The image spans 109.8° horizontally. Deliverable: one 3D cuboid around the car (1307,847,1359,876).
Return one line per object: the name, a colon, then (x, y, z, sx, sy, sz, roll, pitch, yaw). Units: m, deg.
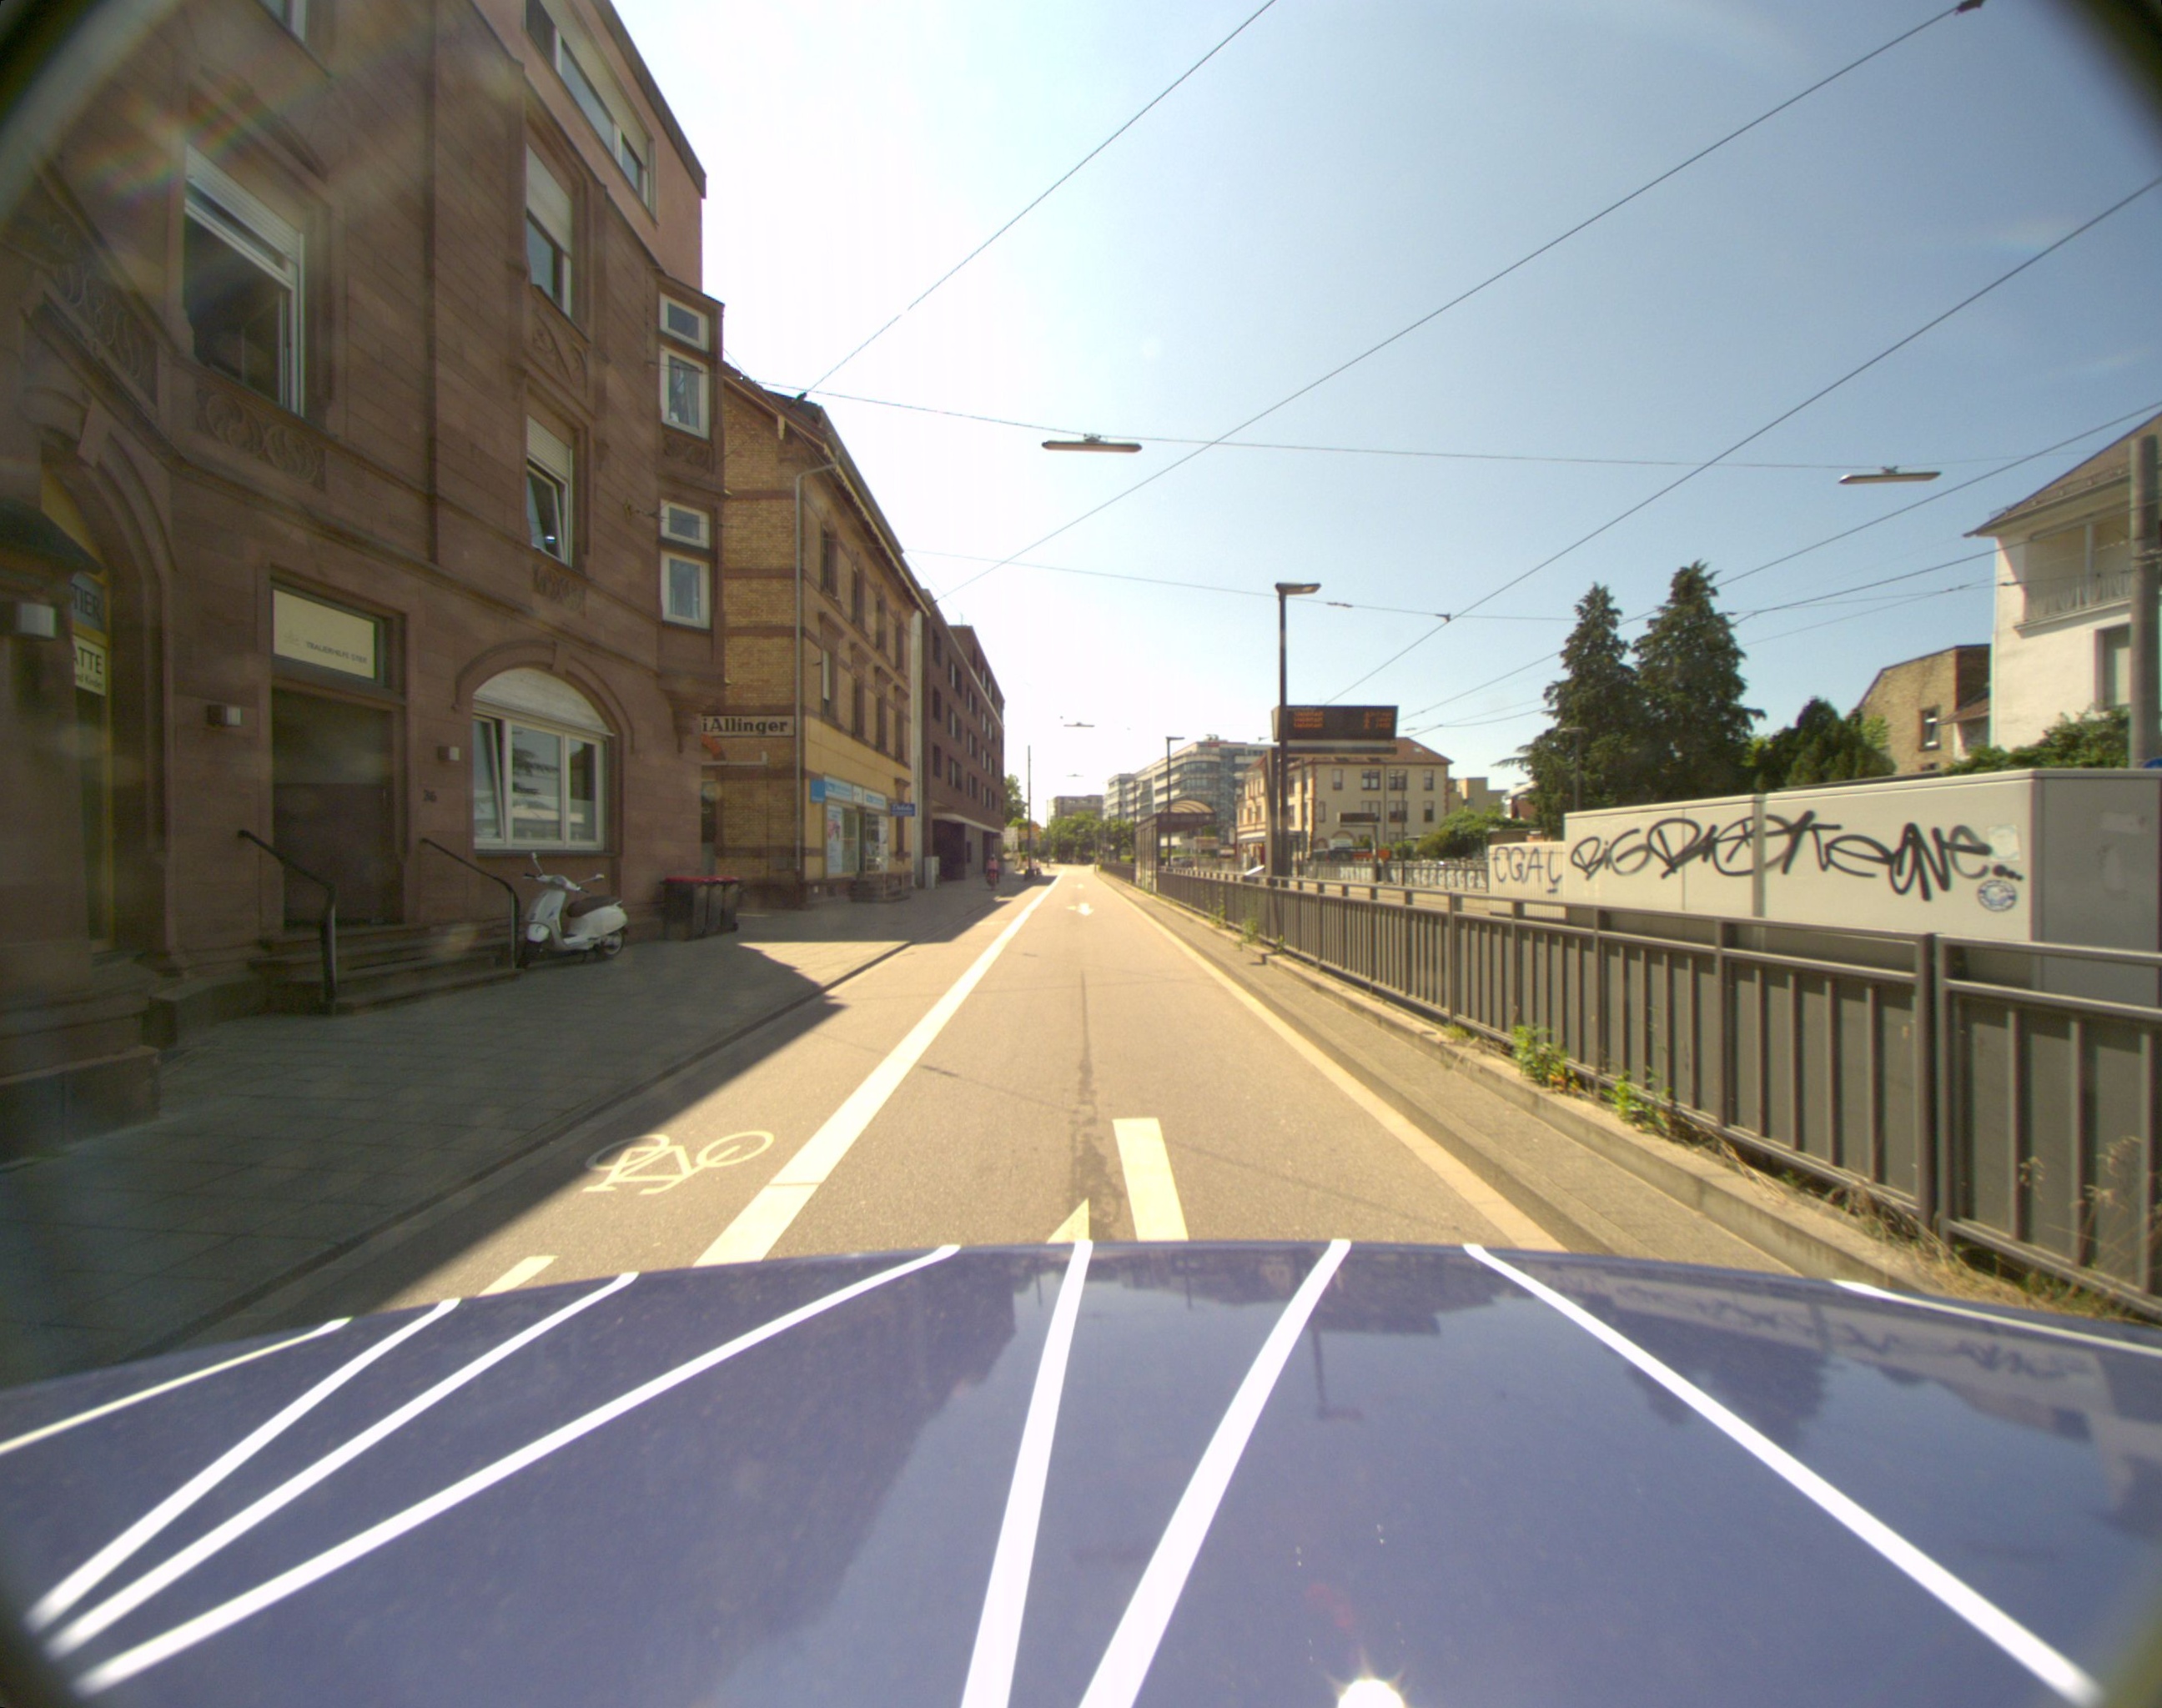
car: (16.507, 0.482, 50.019, 1.999, 1.827, 3.999, -1, 0, -1)

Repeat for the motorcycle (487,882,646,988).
motorcycle: (-6.438, 0.964, 9.644, 0.527, 1.142, 1.881, 0, 0, 8)

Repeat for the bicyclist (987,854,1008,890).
bicyclist: (-4.027, 0.865, 36.707, 0.670, 1.712, 0.930, 0, 0, 22)

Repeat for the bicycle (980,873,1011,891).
bicycle: (-4.101, 1.337, 36.491, 0.688, 0.793, 1.911, -1, 0, 21)

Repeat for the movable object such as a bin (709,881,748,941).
movable object such as a bin: (-6.471, 1.041, 13.972, 0.376, 1.042, 0.657, 2, 0, 0)

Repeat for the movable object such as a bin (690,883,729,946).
movable object such as a bin: (-6.523, 1.052, 13.364, 0.376, 1.042, 0.559, 2, 0, 0)

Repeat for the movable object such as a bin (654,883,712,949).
movable object such as a bin: (-6.683, 1.034, 12.781, 0.649, 1.042, 0.559, 2, 0, -1)
